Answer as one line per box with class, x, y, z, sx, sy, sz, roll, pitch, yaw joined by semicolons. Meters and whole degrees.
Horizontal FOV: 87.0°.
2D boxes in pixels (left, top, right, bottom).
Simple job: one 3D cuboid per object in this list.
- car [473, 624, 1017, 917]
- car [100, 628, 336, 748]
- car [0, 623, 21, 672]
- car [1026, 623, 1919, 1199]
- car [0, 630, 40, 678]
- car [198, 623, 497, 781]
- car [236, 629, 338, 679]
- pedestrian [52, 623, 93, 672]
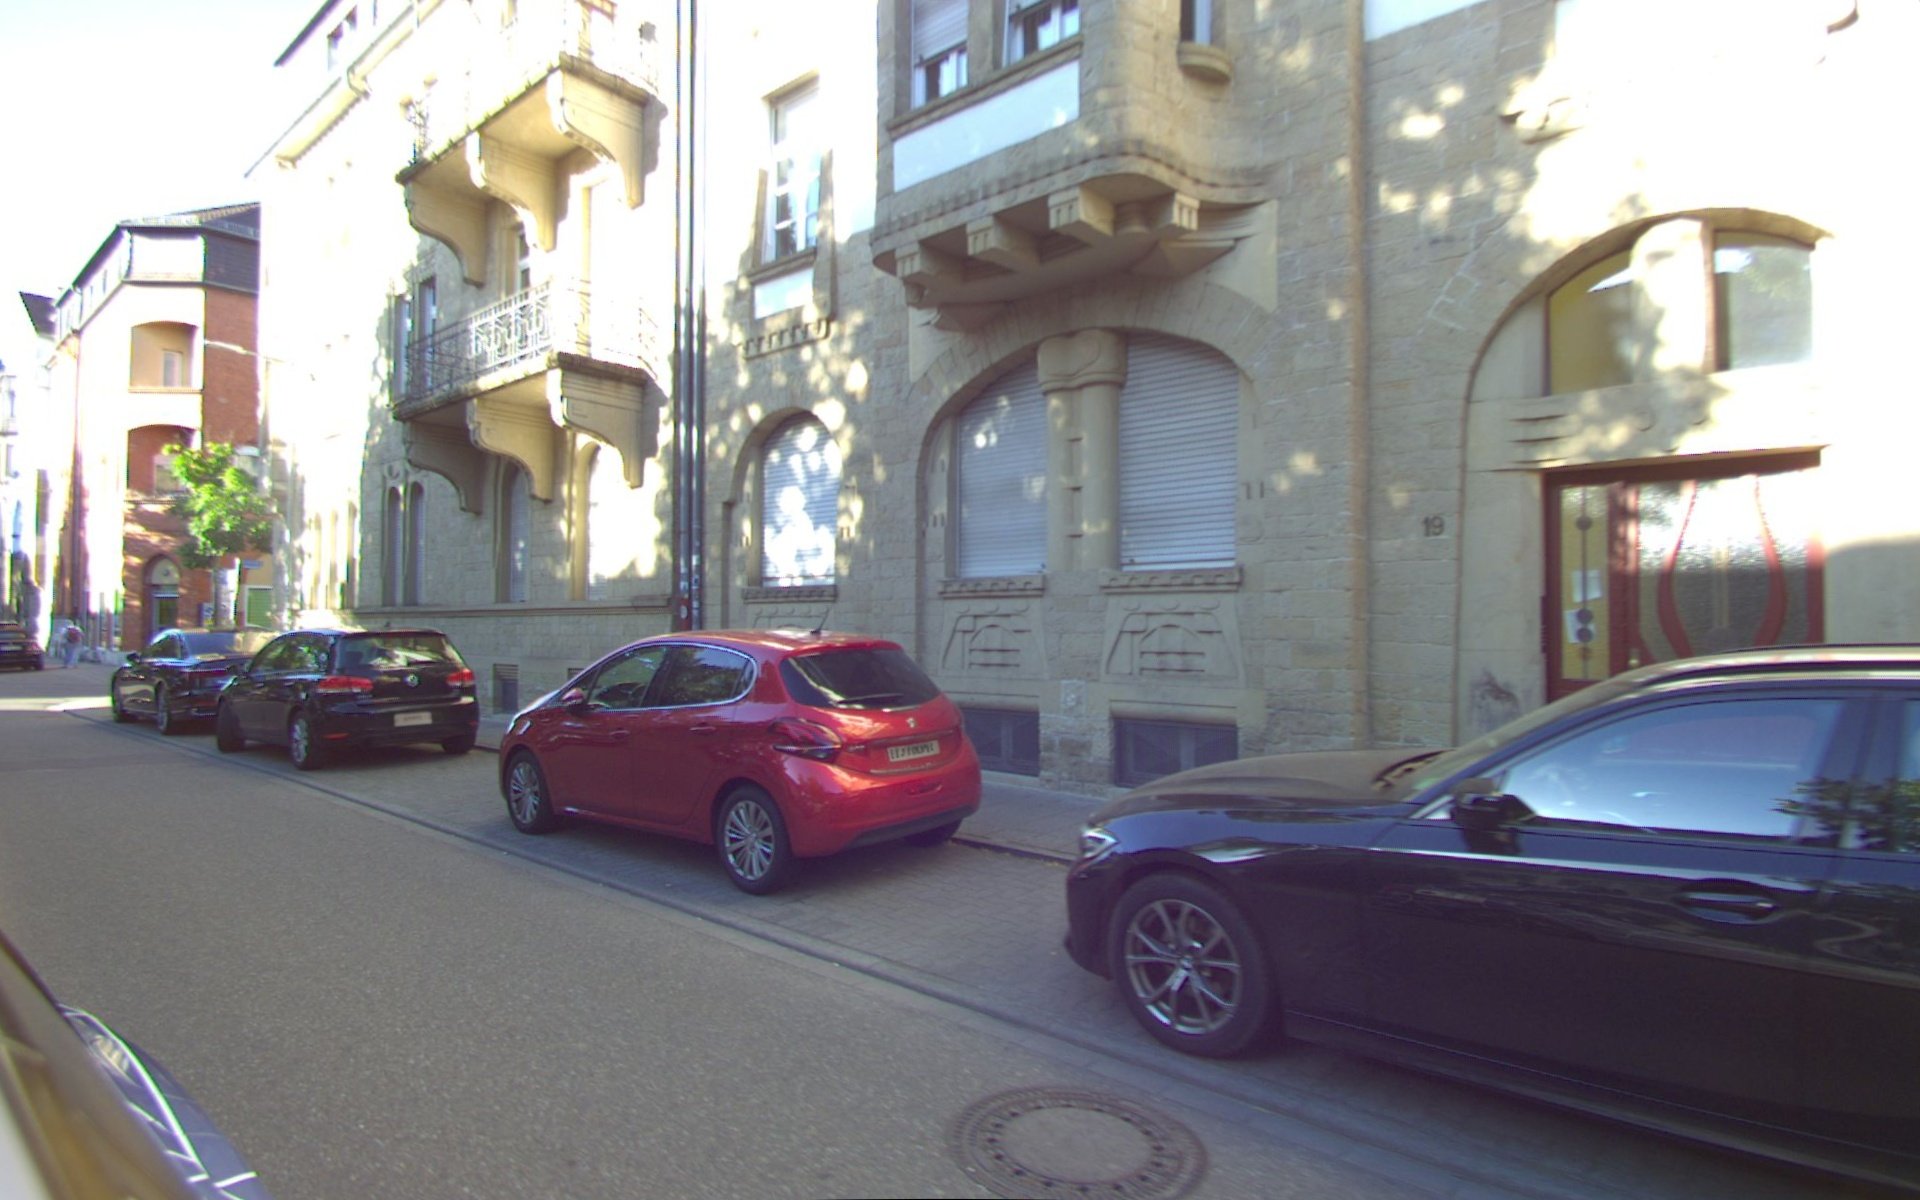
car;-1.640;0.928;6.981;3.833;1.464;1.613;-2;-2;39
car;-11.250;1.192;15.208;4.895;1.437;1.793;-1;0;41
car;-35.454;1.686;36.557;4.345;1.693;1.653;-1;-1;39
car;2.517;0.817;3.080;4.548;1.441;1.658;-2;-1;42
car;-31.266;1.742;32.821;4.331;1.421;1.619;-1;0;41
car;-7.070;1.019;11.531;4.024;1.464;1.679;-1;-2;40
car;-21.966;1.705;32.969;4.655;1.480;1.618;-1;-1;41
pedestrian;-29.946;1.591;34.138;1.053;1.589;0.879;1;-1;41
